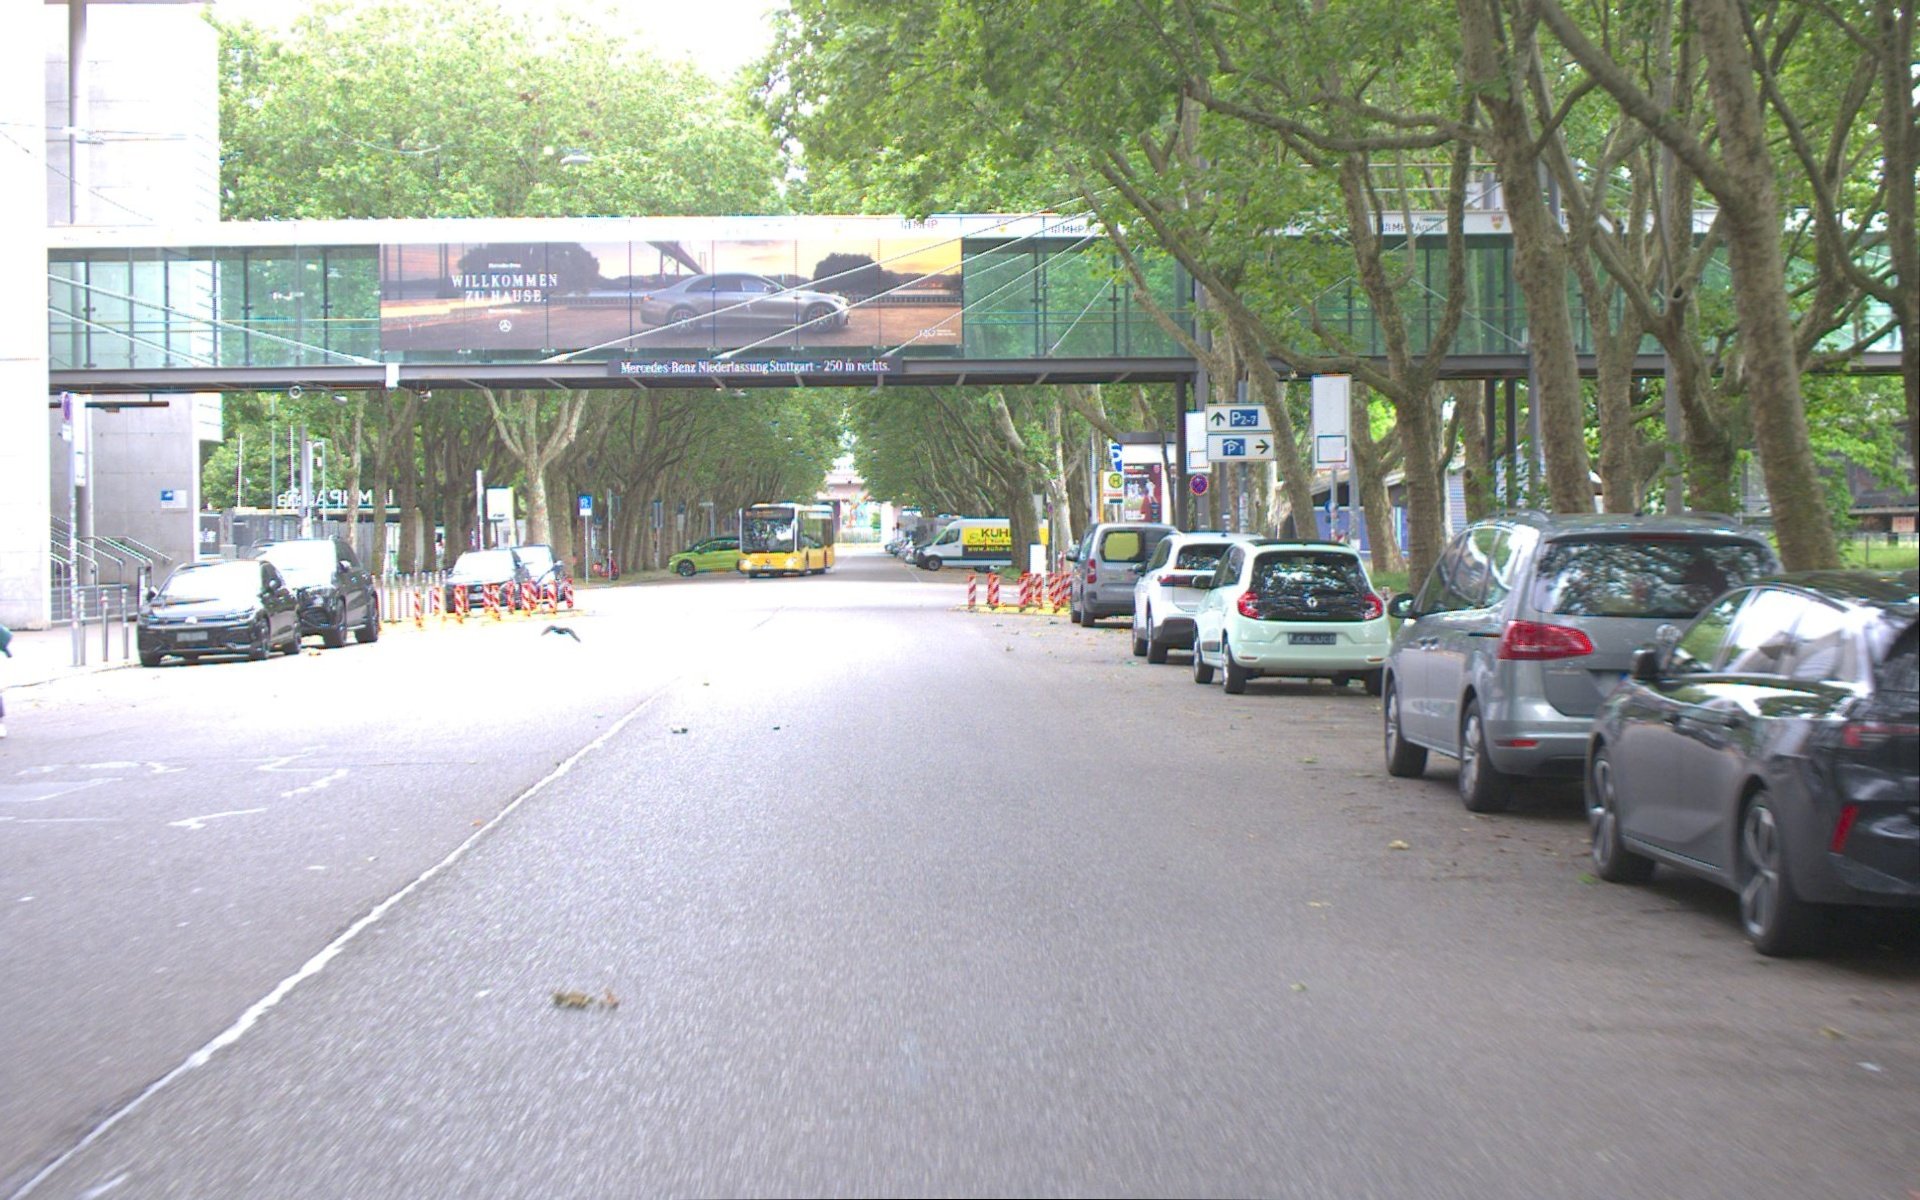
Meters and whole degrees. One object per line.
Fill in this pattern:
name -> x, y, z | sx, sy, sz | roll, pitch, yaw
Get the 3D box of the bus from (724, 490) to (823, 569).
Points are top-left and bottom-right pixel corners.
bus -> -7.996, -3.034, 148.929 | 3.039, 3.149, 12.677 | -2, 1, 2

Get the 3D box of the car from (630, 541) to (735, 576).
car -> -12.881, -1.913, 159.812 | 4.700, 1.579, 1.864 | 0, 1, 0

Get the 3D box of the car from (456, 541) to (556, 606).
car -> -11.116, -0.676, 84.383 | 1.858, 1.448, 4.449 | -3, 1, -1

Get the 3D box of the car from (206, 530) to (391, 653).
car -> -10.635, -0.180, 55.636 | 2.034, 1.783, 4.908 | -3, 1, -1

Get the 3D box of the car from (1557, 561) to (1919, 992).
car -> 3.783, 0.578, 13.972 | 1.877, 1.422, 4.480 | 0, 1, -1

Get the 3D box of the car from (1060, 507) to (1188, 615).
car -> 2.813, -0.684, 59.961 | 1.847, 1.777, 5.211 | 1, 1, -1

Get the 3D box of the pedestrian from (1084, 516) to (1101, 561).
pedestrian -> 5.515, -2.561, 143.370 | 0.572, 1.881, 0.617 | 0, 1, -10

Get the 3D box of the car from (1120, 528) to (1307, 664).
car -> 3.138, -0.081, 43.413 | 1.914, 1.612, 4.749 | 0, 1, -1

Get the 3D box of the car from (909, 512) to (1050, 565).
car -> 0.955, -3.054, 170.067 | 6.822, 2.505, 2.317 | -1, 1, -3

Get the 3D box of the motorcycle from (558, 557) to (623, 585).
motorcycle -> -15.192, -1.204, 141.380 | 2.591, 1.119, 0.704 | -1, 1, -25

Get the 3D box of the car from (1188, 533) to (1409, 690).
car -> 3.435, 0.082, 35.552 | 1.807, 1.521, 4.096 | 0, 1, -1

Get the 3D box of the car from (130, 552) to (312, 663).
car -> -10.624, 0.074, 49.681 | 1.704, 1.415, 4.325 | -3, 1, -1

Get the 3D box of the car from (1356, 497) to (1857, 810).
car -> 3.754, 0.254, 20.869 | 1.981, 1.674, 4.732 | 0, 1, -2

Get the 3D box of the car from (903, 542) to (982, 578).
car -> -0.907, -2.066, 177.505 | 3.986, 1.788, 1.543 | 0, 1, -2

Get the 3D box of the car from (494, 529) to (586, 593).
car -> -11.384, -1.070, 93.440 | 1.993, 1.579, 4.113 | -3, 1, -1

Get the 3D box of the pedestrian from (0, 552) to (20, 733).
pedestrian -> -8.027, 0.337, 27.978 | 0.584, 1.461, 0.567 | 1, 1, 2
